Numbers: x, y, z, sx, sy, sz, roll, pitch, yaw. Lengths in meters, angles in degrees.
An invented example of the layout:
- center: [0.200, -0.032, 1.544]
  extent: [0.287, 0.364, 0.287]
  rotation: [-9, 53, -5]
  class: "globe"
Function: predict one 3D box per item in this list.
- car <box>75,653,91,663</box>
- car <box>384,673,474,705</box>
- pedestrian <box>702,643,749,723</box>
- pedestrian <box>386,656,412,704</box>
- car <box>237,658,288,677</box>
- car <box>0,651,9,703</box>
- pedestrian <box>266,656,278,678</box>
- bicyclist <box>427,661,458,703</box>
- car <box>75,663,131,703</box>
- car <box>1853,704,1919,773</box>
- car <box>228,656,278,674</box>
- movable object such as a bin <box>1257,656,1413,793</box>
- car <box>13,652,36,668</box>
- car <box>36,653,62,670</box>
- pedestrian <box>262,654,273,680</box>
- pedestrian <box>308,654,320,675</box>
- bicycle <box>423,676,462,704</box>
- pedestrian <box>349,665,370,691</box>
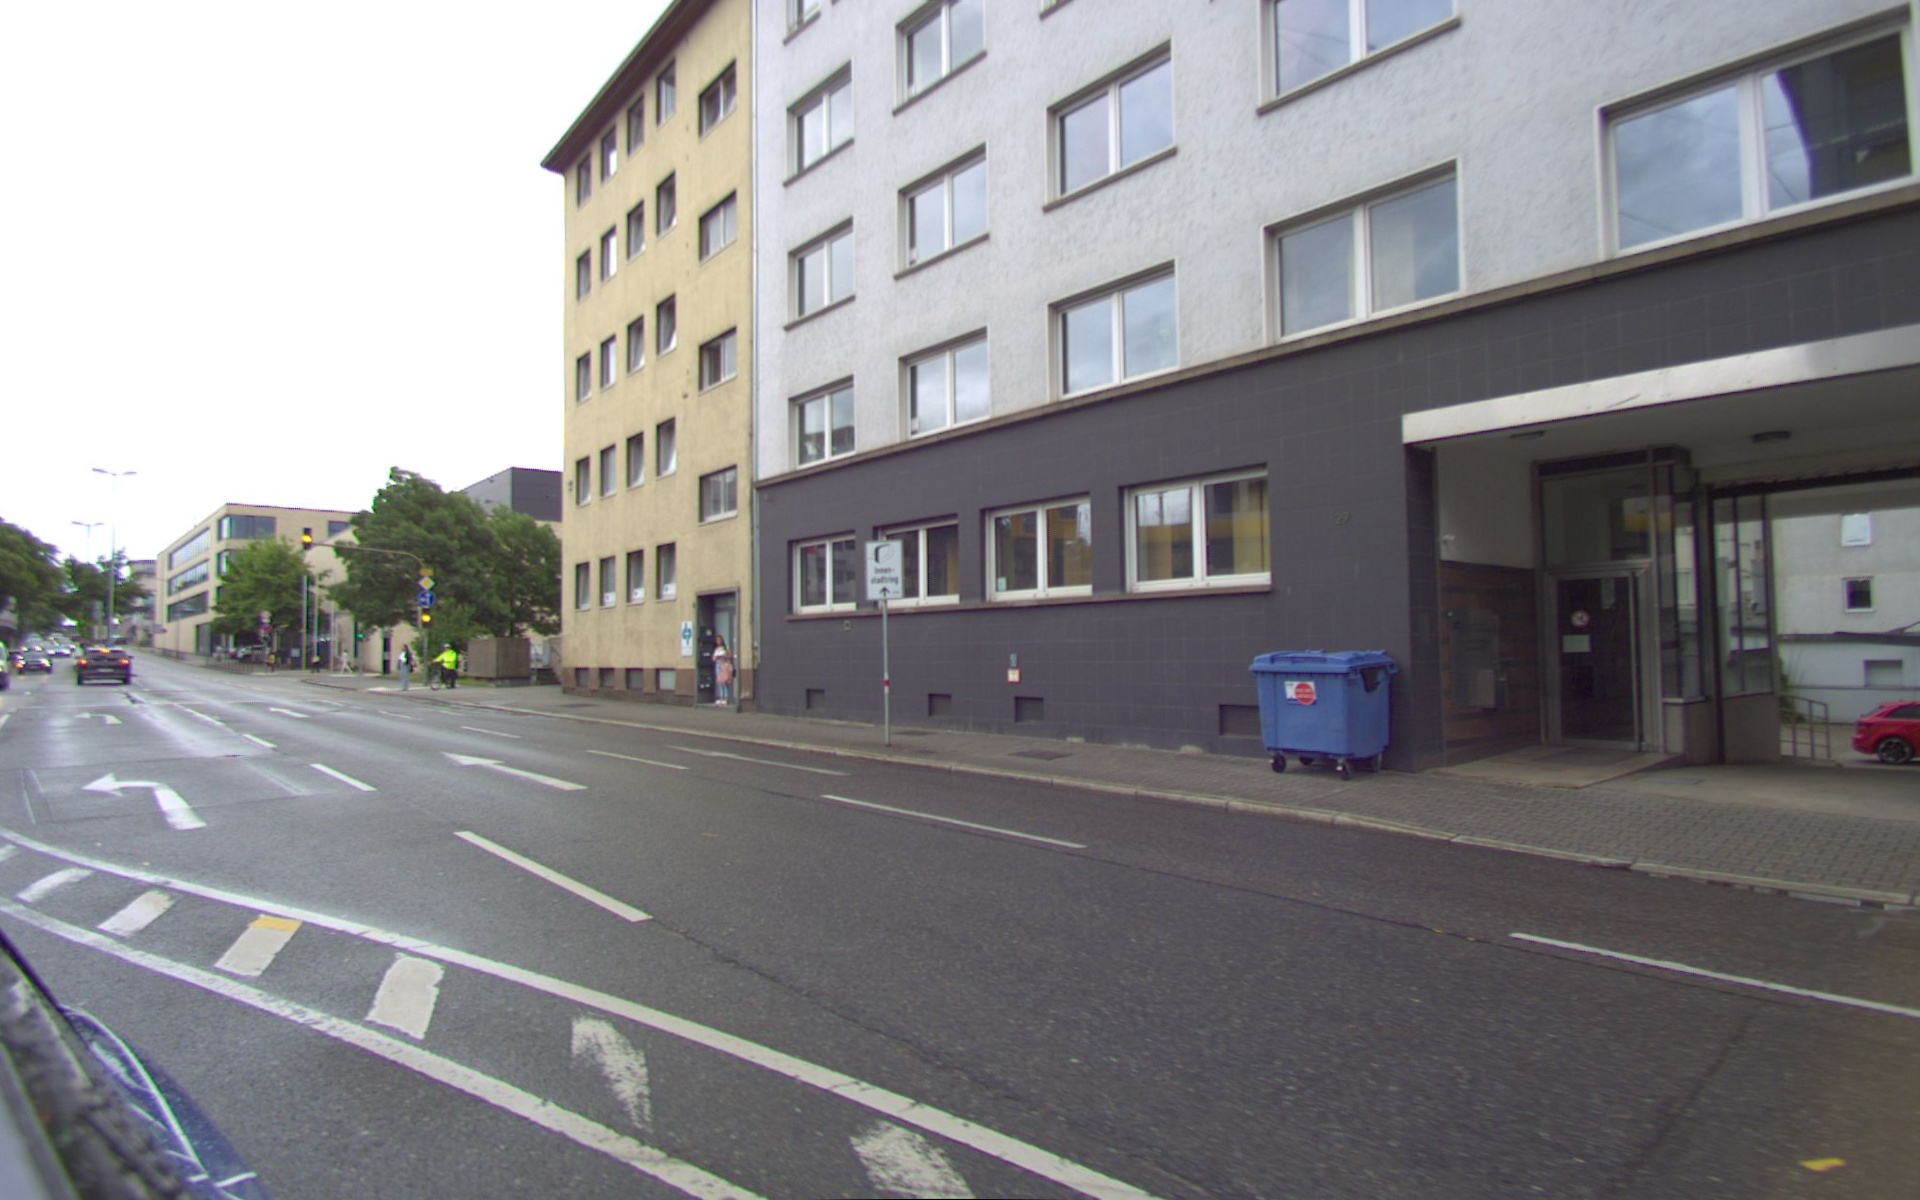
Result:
- center: [-140.902, 9.282, 162.590]
  extent: [1.651, 1.481, 4.304]
  rotation: [5, -6, -43]
  class: "car"
- center: [-34.357, 5.780, 65.553]
  extent: [4.721, 1.940, 2.001]
  rotation: [7, -8, -44]
  class: "car"
- center: [-5.205, 1.823, 22.469]
  extent: [0.708, 1.702, 0.812]
  rotation: [0, -2, -40]
  class: "pedestrian"
- center: [-20.652, 2.923, 37.257]
  extent: [0.708, 1.702, 0.812]
  rotation: [0, -2, -40]
  class: "pedestrian"
- center: [-67.706, 6.507, 98.243]
  extent: [3.935, 1.597, 2.004]
  rotation: [0, -2, -38]
  class: "car"
- center: [-35.889, 2.838, 36.720]
  extent: [1.778, 1.842, 3.955]
  rotation: [-1, -2, -40]
  class: "car"
- center: [-49.003, 4.750, 72.067]
  extent: [0.587, 1.528, 0.693]
  rotation: [0, -2, -43]
  class: "pedestrian"
- center: [-18.872, 2.978, 36.874]
  extent: [0.831, 1.453, 0.814]
  rotation: [0, -2, -40]
  class: "bicyclist"
- center: [-37.826, 3.616, 44.670]
  extent: [1.785, 1.607, 4.301]
  rotation: [2, -4, -41]
  class: "car"
- center: [22.207, 2.977, 21.752]
  extent: [1.968, 1.453, 4.173]
  rotation: [4, -7, -38]
  class: "car"
- center: [-69.631, 6.382, 99.692]
  extent: [3.935, 1.597, 2.004]
  rotation: [0, -2, -38]
  class: "car"
- center: [4.077, 1.299, 11.024]
  extent: [1.063, 1.334, 1.192]
  rotation: [0, -2, -42]
  class: "movable object such as a bin"
- center: [-114.449, 7.323, 123.852]
  extent: [1.970, 1.796, 4.003]
  rotation: [0, -2, -44]
  class: "car"
- center: [-100.317, 6.782, 111.470]
  extent: [1.970, 1.796, 4.003]
  rotation: [0, -2, -44]
  class: "car"
- center: [-48.436, 4.697, 70.785]
  extent: [0.587, 1.785, 0.693]
  rotation: [0, -2, -43]
  class: "pedestrian"
- center: [-44.930, 4.484, 70.387]
  extent: [0.613, 1.386, 0.475]
  rotation: [0, -2, -41]
  class: "pedestrian"
- center: [-18.874, 3.254, 36.888]
  extent: [0.874, 0.914, 1.870]
  rotation: [0, -2, -40]
  class: "bicycle"
- center: [-40.916, 5.305, 68.968]
  extent: [1.097, 1.713, 0.808]
  rotation: [0, -3, -44]
  class: "pedestrian"
